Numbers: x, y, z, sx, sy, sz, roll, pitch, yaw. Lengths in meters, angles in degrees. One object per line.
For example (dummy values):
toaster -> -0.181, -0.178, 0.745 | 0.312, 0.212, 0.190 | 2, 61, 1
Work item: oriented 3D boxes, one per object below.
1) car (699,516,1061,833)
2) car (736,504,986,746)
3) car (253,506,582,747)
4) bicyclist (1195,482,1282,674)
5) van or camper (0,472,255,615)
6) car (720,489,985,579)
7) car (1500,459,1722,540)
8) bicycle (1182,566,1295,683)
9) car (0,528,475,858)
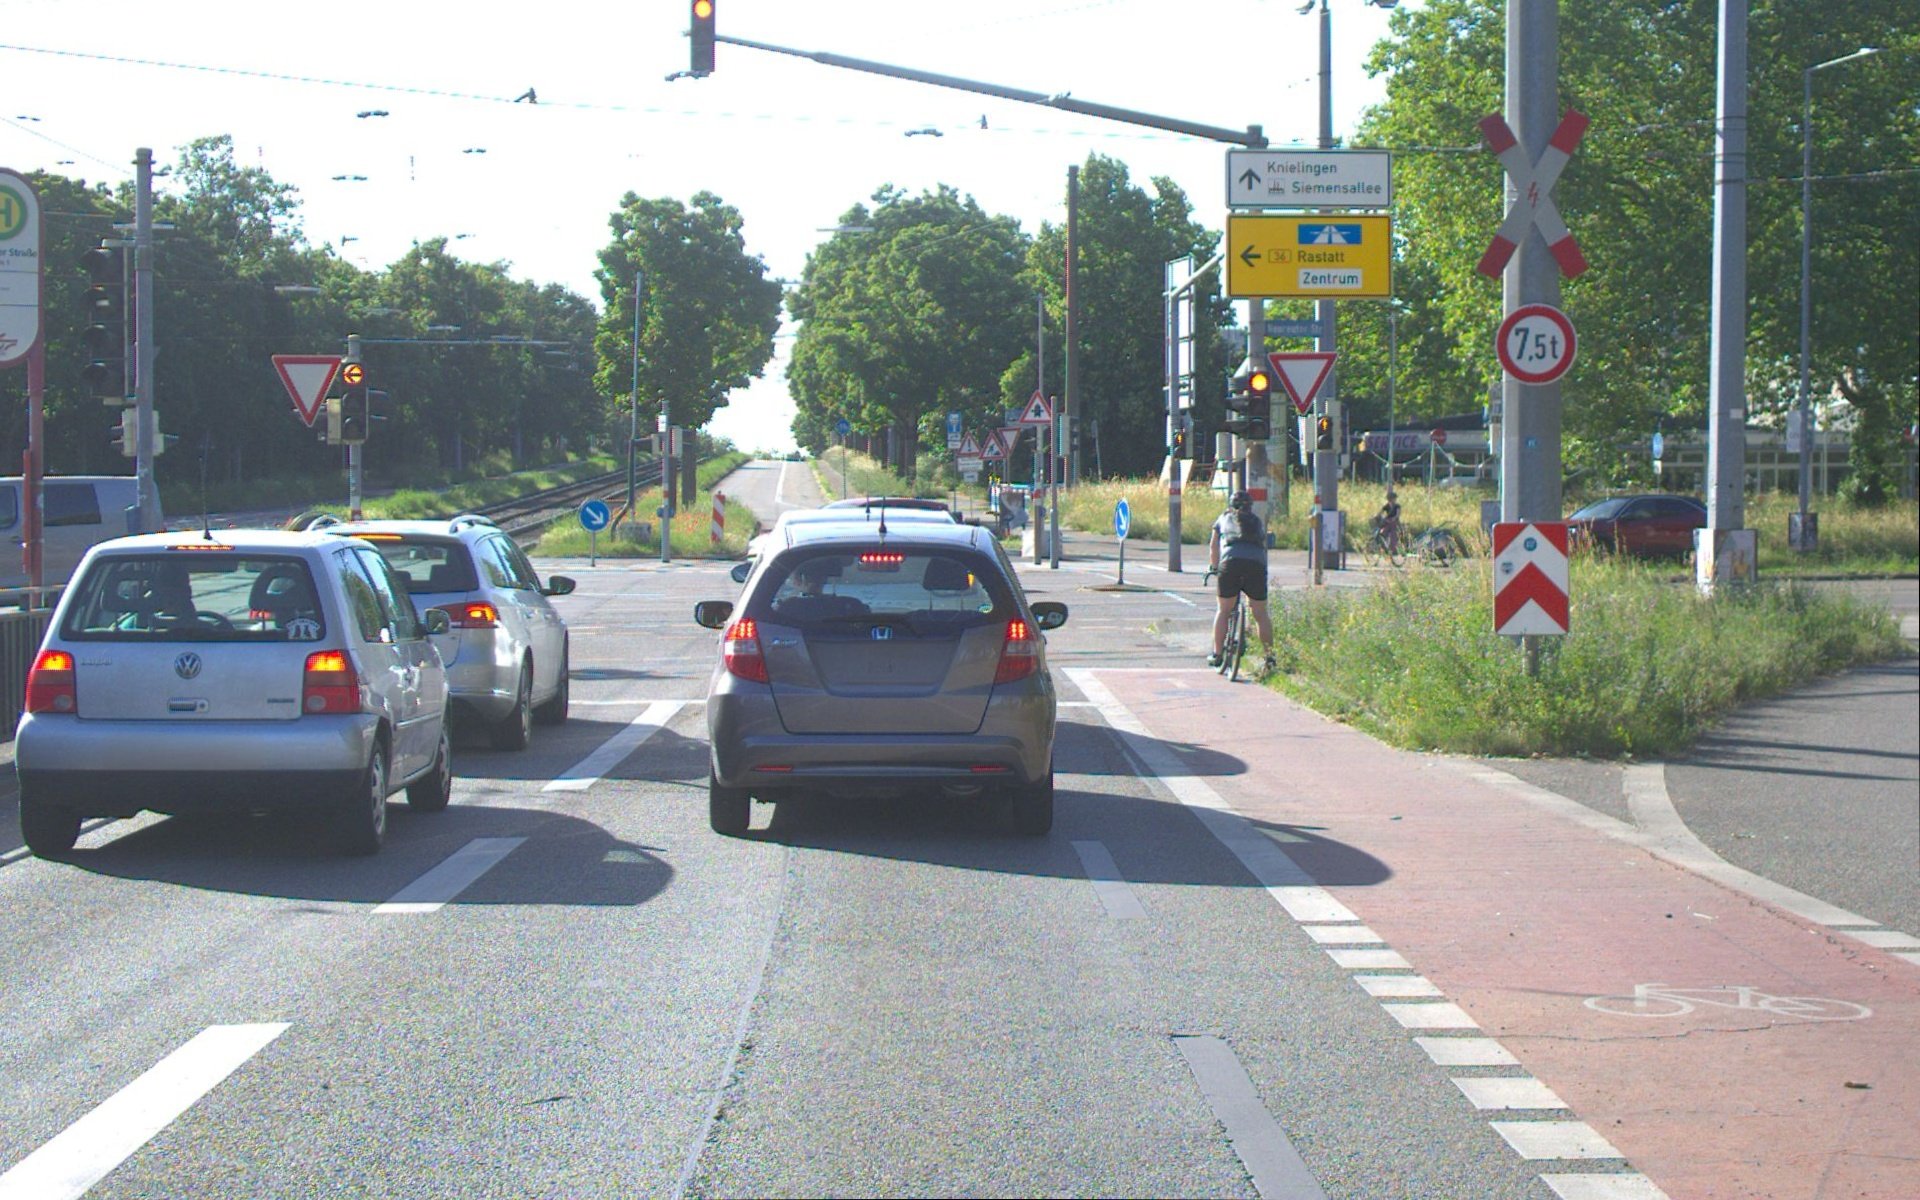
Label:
car -> -0.453, 0.304, 17.715 | 1.668, 1.457, 3.587 | 0, 2, -3
car -> -0.676, 0.108, 24.350 | 1.611, 1.557, 4.288 | 0, 1, -1
car -> -3.556, 0.125, 23.159 | 1.619, 1.452, 4.085 | 1, 1, -1
bicyclist -> 2.547, -0.206, 31.501 | 0.666, 1.710, 0.948 | 1, 1, -1
van or camper -> -12.353, -0.759, 45.287 | 1.998, 1.822, 5.973 | 1, 2, 42
car -> -1.717, -1.087, 55.328 | 4.003, 1.398, 1.609 | -1, 2, -33
car -> 12.580, -1.946, 66.409 | 3.986, 1.525, 1.606 | -1, 2, -23
bicycle -> 2.535, 0.197, 31.589 | 0.722, 0.985, 2.876 | 1, 1, -1
car -> -3.356, 0.370, 16.526 | 1.619, 1.413, 3.351 | 0, 1, -1
